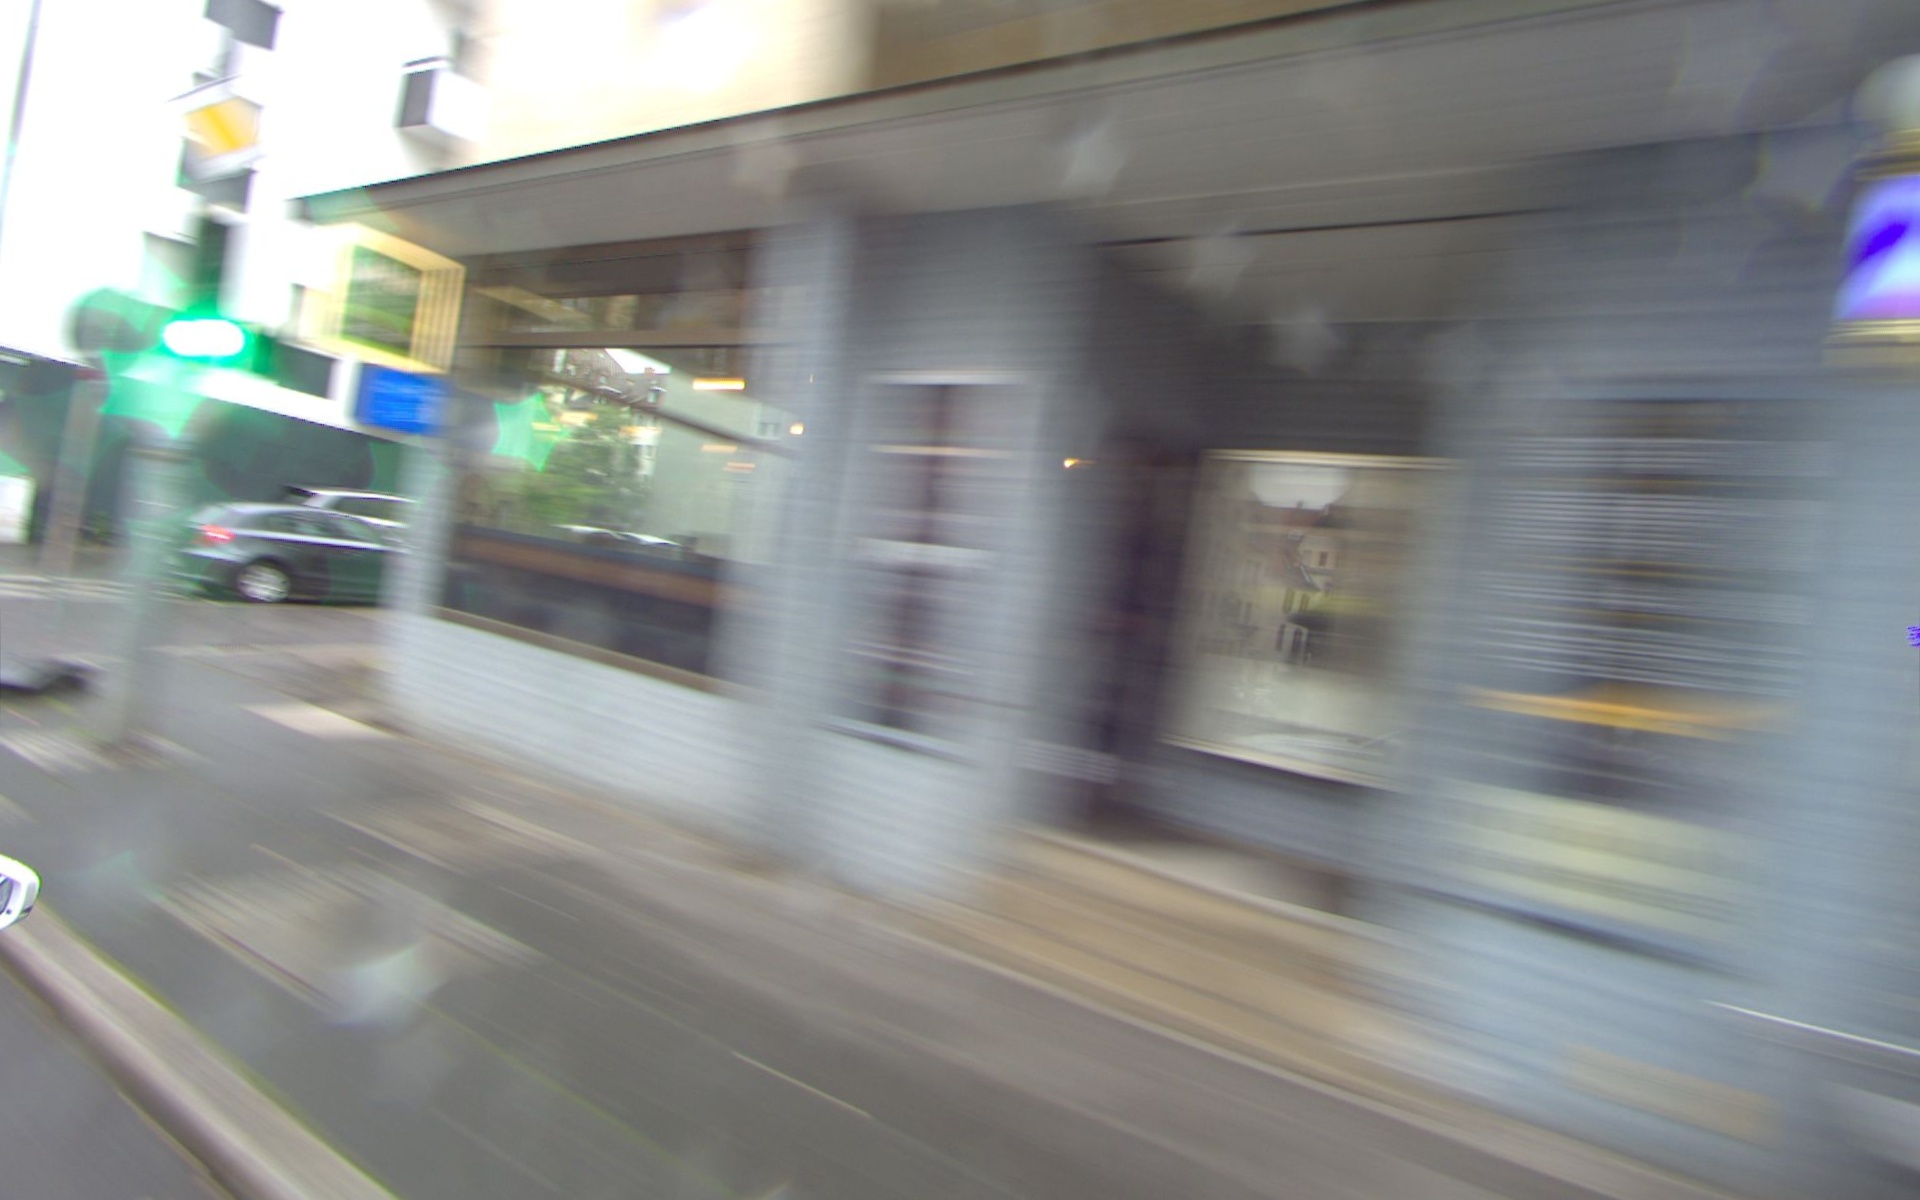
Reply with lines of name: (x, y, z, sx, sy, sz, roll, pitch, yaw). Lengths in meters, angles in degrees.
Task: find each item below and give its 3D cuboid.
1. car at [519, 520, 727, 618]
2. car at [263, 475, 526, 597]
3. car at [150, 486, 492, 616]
car: (-6.659, -0.551, 20.309, 1.442, 1.520, 3.995, 6, -1, 28)
car: (-10.861, -1.173, 19.550, 1.713, 1.712, 3.983, 11, 2, 39)
car: (-9.601, -0.674, 15.408, 1.733, 1.432, 3.988, 7, 0, 35)
